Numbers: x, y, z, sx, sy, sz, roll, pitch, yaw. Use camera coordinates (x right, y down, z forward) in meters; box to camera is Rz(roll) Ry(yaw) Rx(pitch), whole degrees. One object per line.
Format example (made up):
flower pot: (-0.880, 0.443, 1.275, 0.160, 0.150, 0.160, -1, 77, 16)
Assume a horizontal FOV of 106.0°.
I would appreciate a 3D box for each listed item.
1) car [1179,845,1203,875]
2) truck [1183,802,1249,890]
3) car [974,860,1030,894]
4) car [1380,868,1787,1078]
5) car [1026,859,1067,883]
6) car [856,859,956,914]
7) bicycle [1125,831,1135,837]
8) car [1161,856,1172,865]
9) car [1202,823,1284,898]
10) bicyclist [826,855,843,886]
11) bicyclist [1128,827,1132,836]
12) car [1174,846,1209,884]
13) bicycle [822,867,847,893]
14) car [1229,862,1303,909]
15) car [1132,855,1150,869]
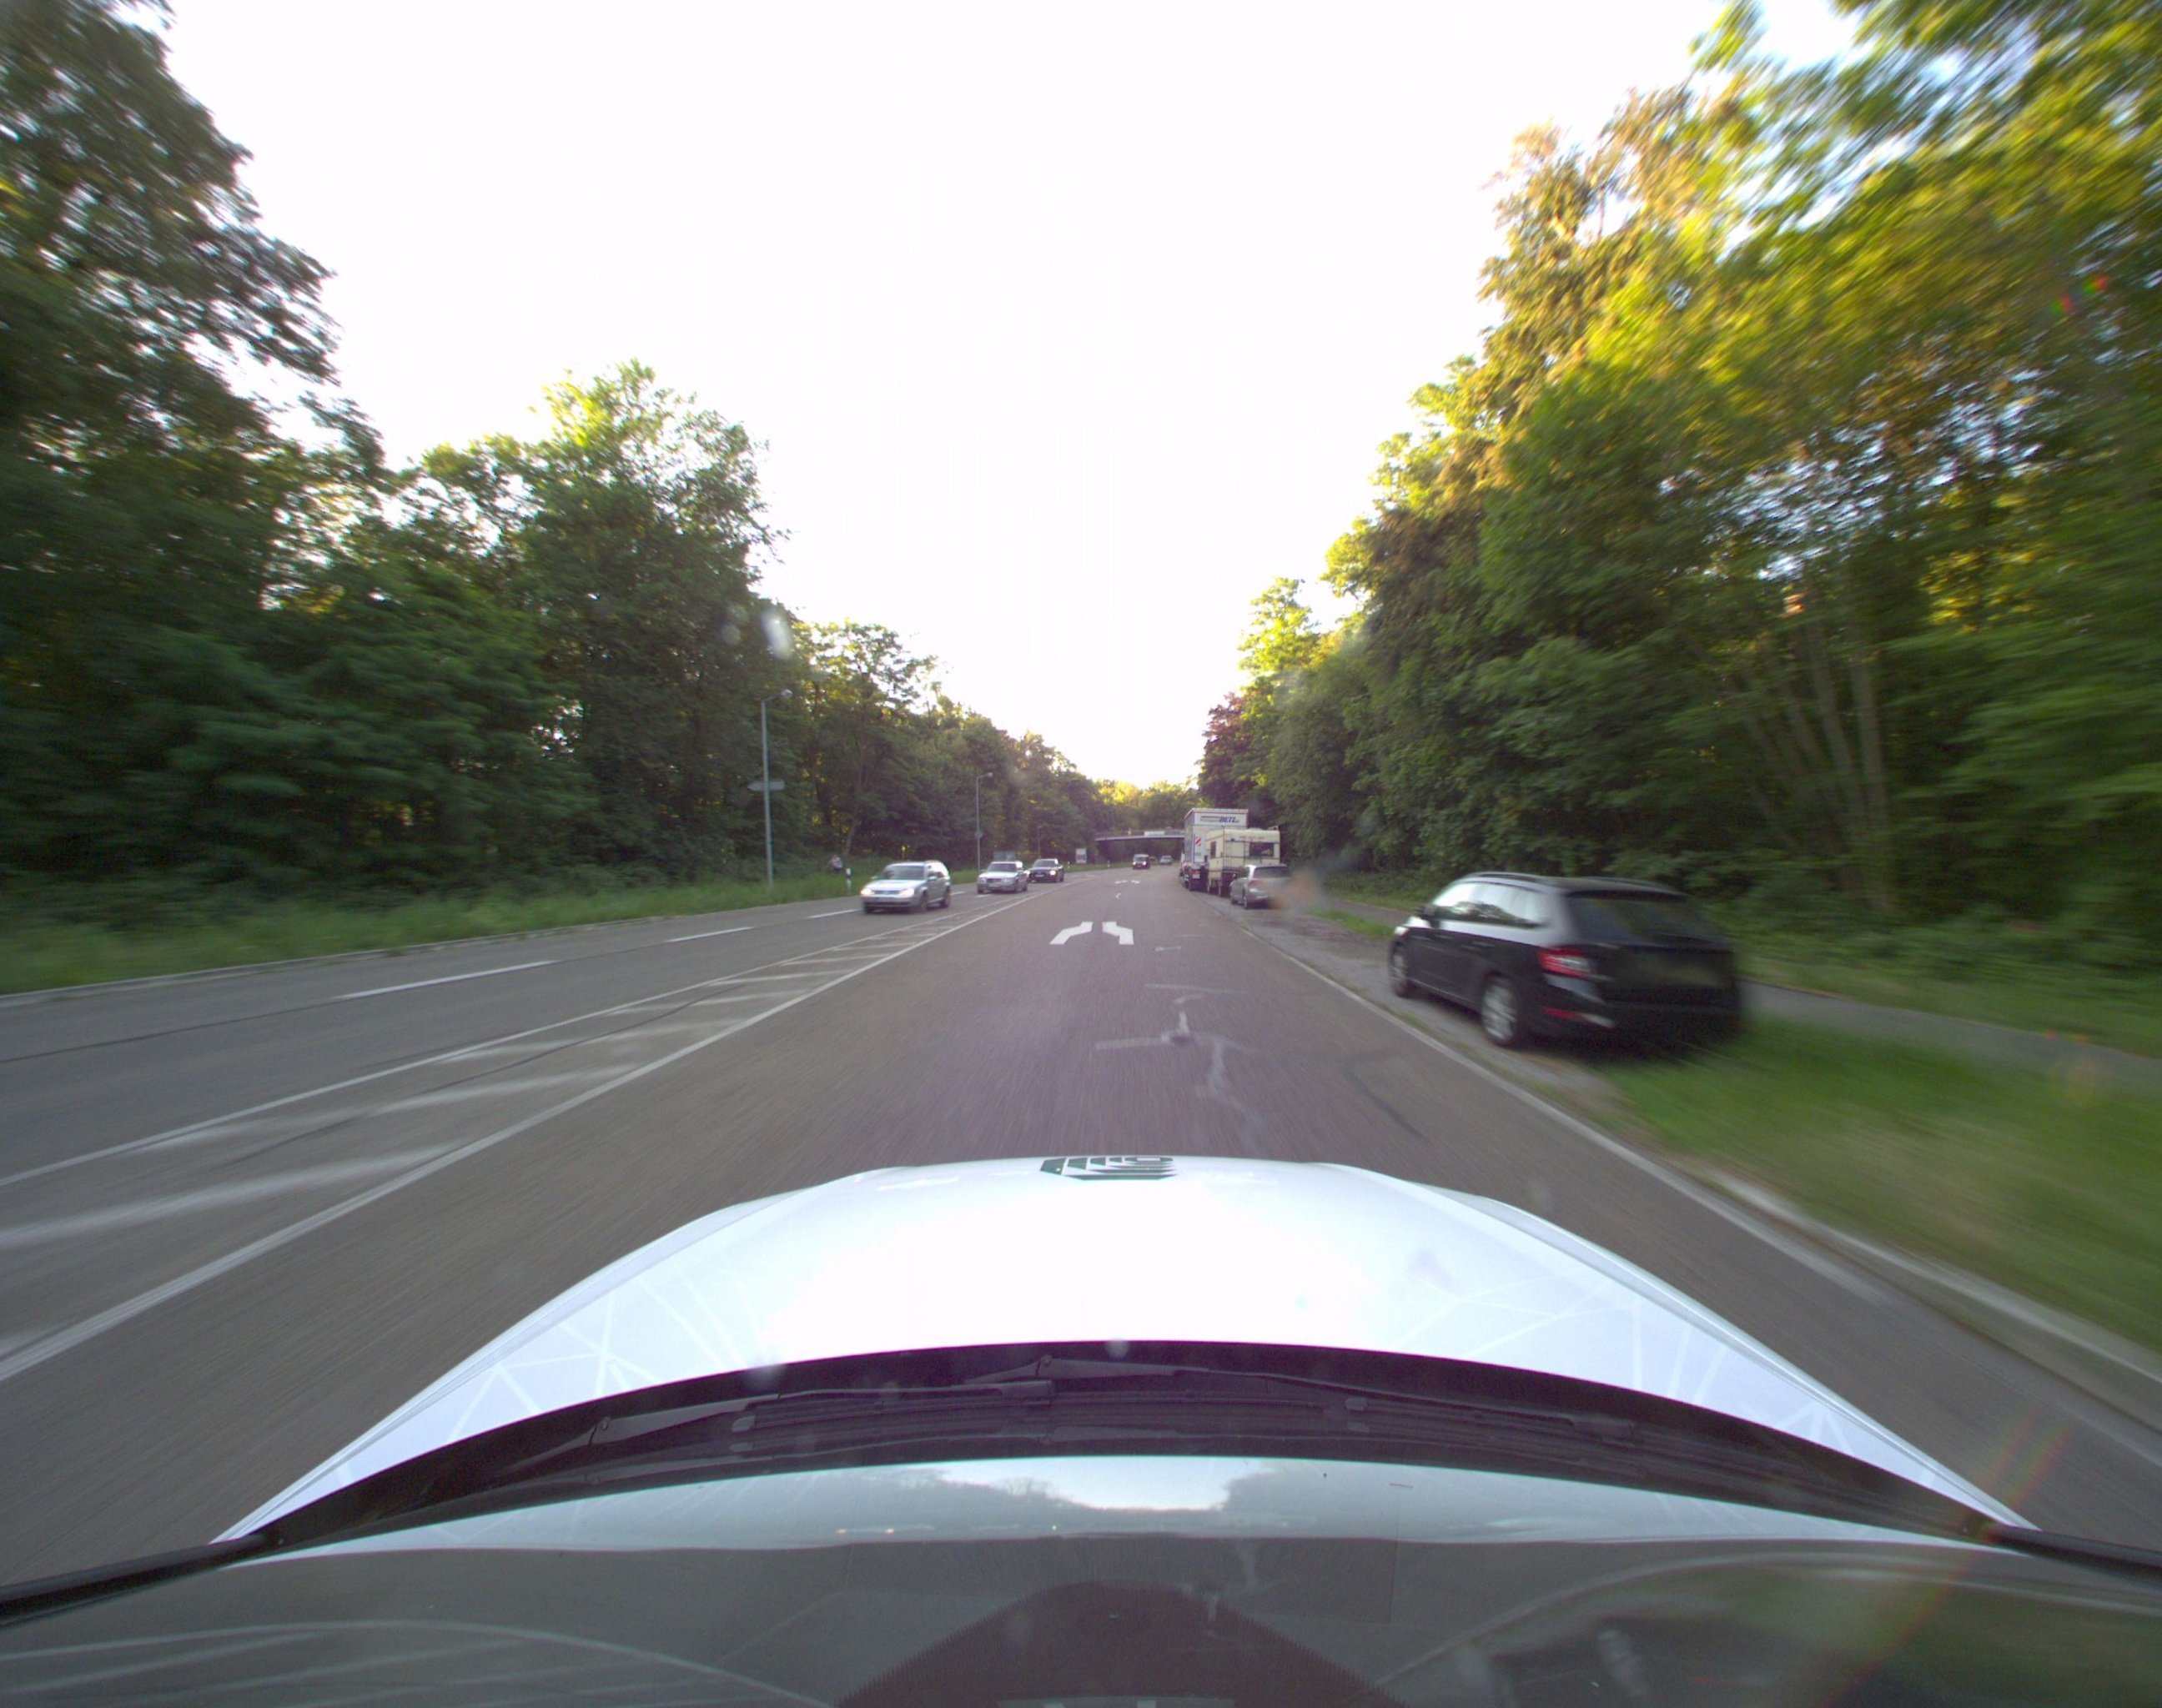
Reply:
car: (9.774, 0.506, 72.301, 1.953, 2.512, 6.027, 1, 0, 7)
truck: (6.801, -0.363, 42.316, 2.645, 4.027, 9.736, 0, 0, 5)
car: (-3.475, 0.980, 36.560, 1.711, 1.397, 4.381, -1, 0, 5)
car: (4.322, 0.884, 7.815, 1.656, 1.405, 3.946, 2, 0, 4)
car: (-2.130, 1.030, 51.756, 1.882, 1.440, 4.778, 0, 0, 6)
car: (-5.085, 0.906, 24.226, 1.708, 1.446, 4.179, -1, 0, 5)
bicycle: (8.935, -3.671, 149.177, 1.832, 0.949, 0.552, 0, 0, 12)
car: (16.231, 1.180, 154.209, 1.832, 1.735, 4.011, 0, 0, 10)
car: (6.679, 0.277, 34.308, 2.400, 2.858, 5.933, 0, 0, 1)
bicyclist: (-12.537, 0.845, 41.454, 0.618, 1.511, 0.846, -2, 1, -3)
bicyclist: (9.004, -4.154, 149.169, 0.660, 1.581, 0.549, 0, -1, 12)
car: (6.925, 0.669, 51.372, 1.983, 2.189, 4.936, 1, 0, 6)
bicycle: (-12.524, 1.317, 41.475, 0.628, 1.217, 2.259, -2, 0, -2)
car: (6.119, 1.007, 27.357, 1.692, 1.406, 4.077, -1, 0, 2)
car: (7.923, 0.985, 106.567, 1.832, 1.800, 4.760, 0, 0, 10)
